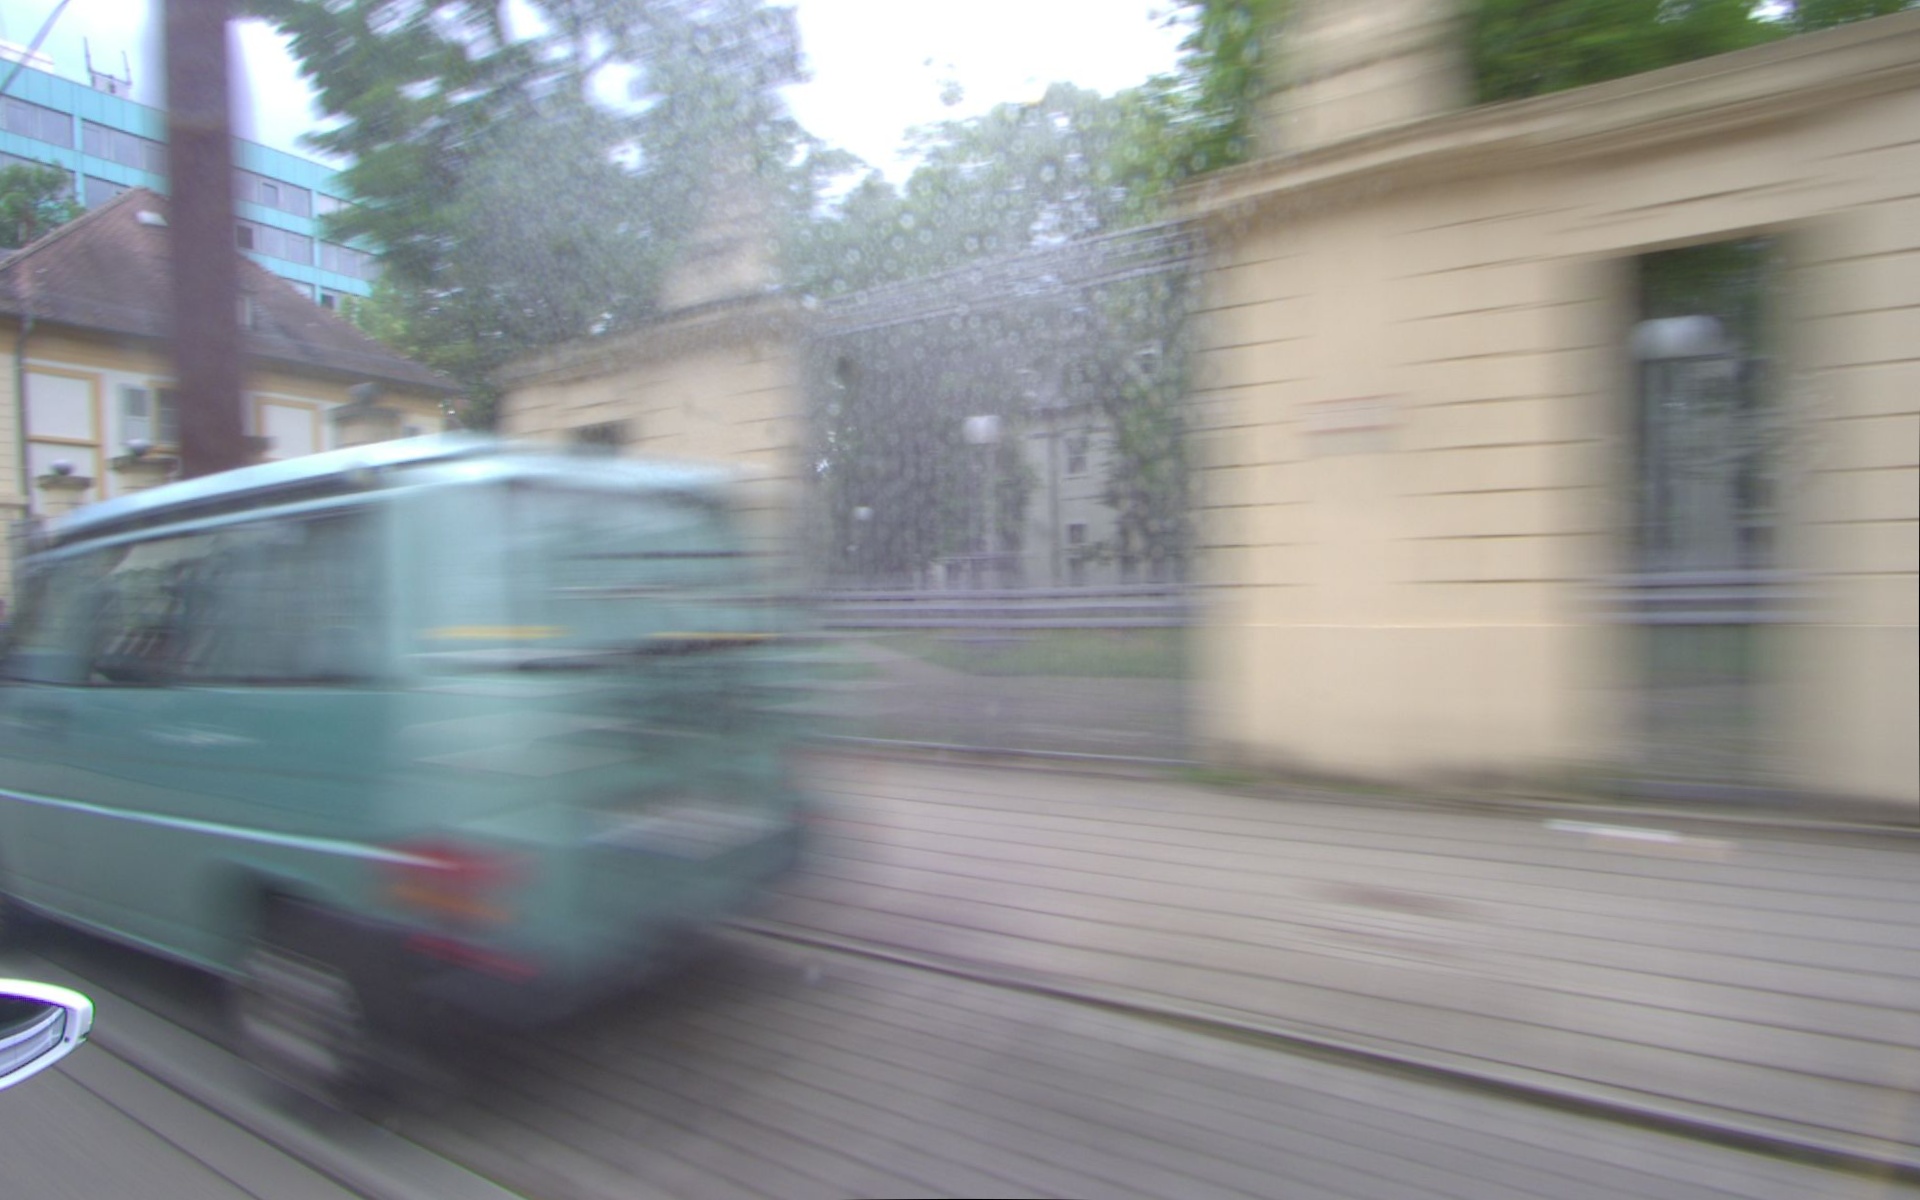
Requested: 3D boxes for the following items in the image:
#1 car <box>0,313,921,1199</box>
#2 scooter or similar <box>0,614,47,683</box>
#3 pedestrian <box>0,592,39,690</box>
[{"bbox_3d":[-2.747,0.426,4.369,4.913,2.144,1.846,-1,3,32],"label":"car"},{"bbox_3d":[-18.595,0.942,19.472,1.892,1.267,0.745,-2,0,32],"label":"scooter or similar"},{"bbox_3d":[-17.065,0.724,17.912,0.878,1.710,0.640,-1,1,32],"label":"pedestrian"}]
